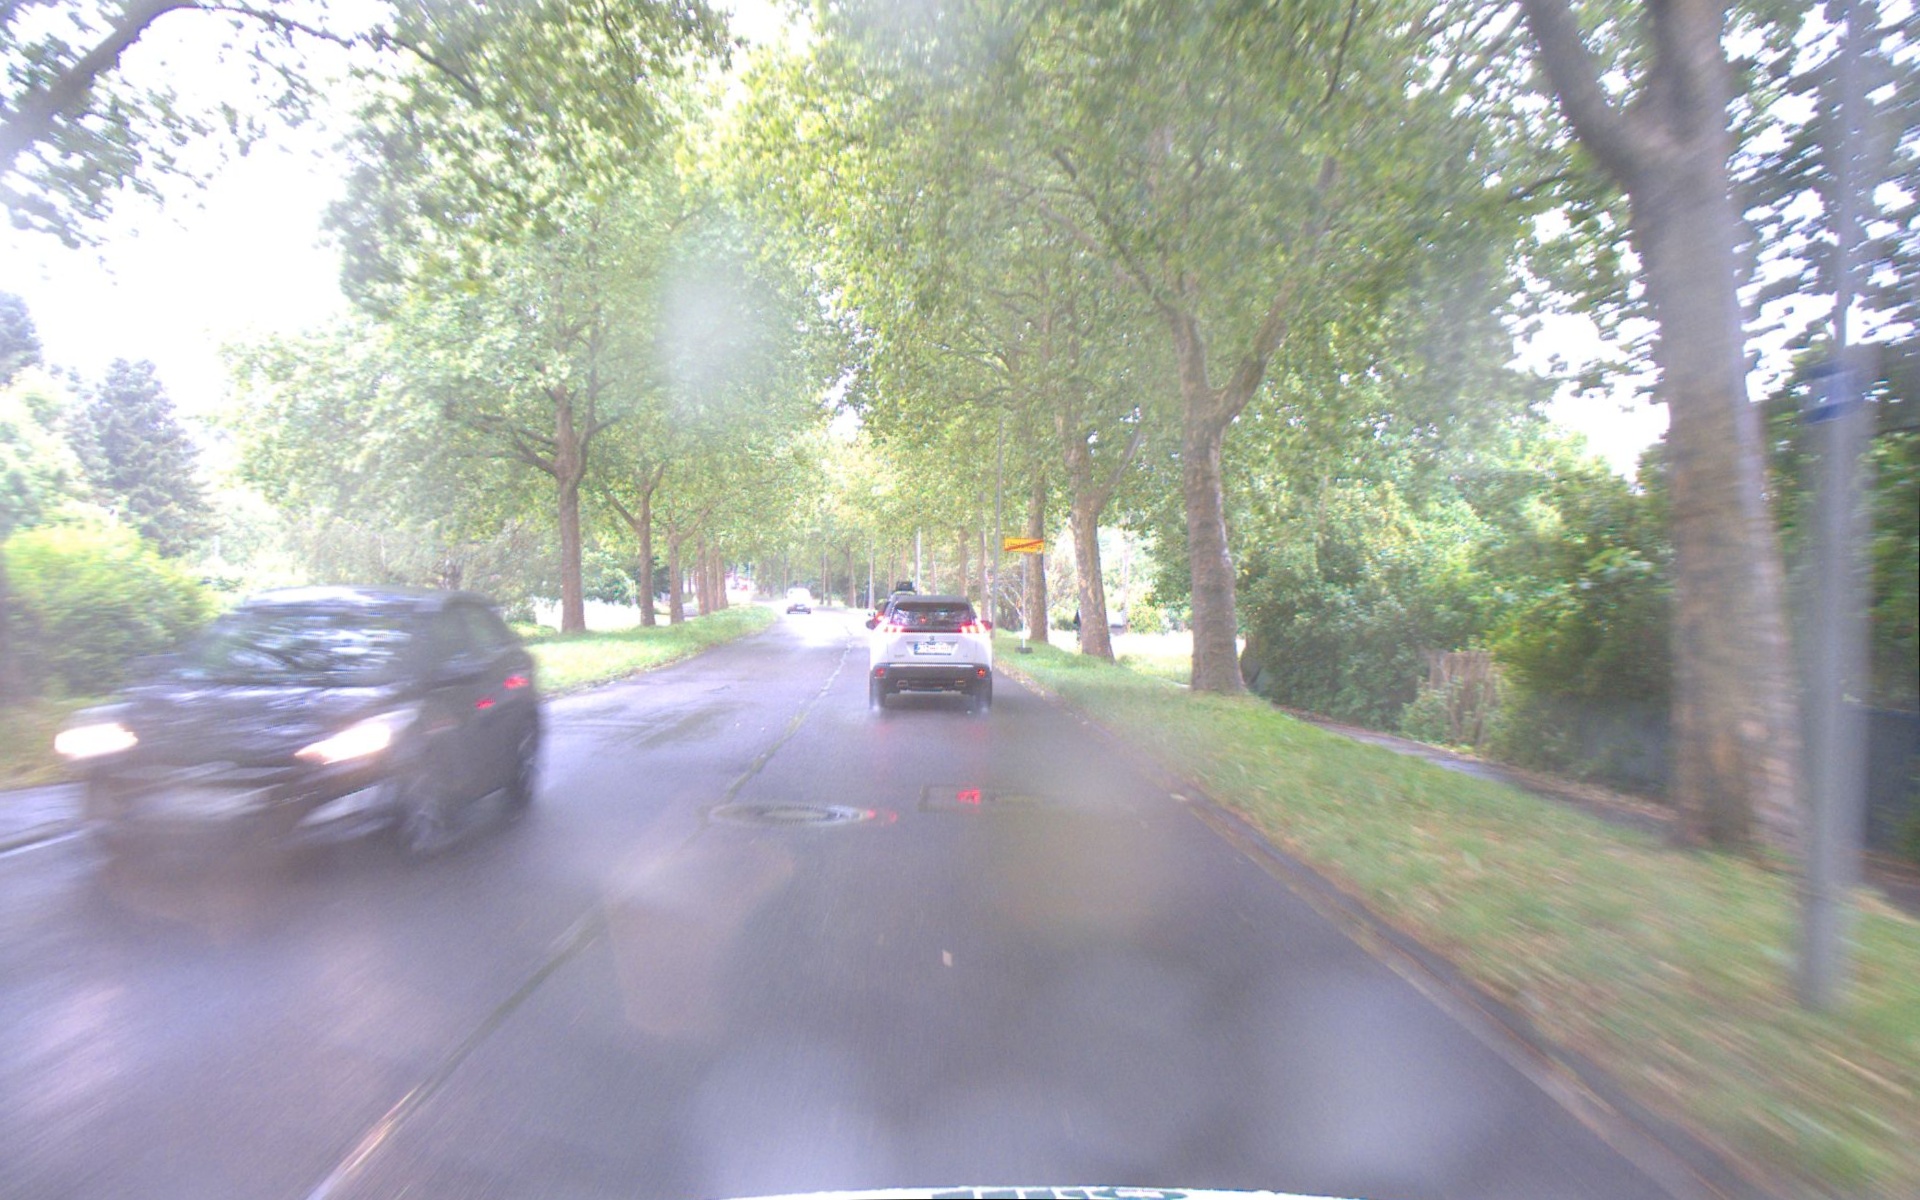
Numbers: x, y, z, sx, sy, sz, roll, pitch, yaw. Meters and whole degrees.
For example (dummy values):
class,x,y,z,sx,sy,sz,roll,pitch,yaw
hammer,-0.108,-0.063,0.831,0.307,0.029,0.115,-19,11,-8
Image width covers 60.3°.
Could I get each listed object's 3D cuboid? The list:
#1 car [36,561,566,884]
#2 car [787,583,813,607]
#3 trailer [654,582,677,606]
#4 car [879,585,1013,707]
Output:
class,x,y,z,sx,sy,sz,roll,pitch,yaw
car,-3.694,0.604,10.101,1.809,1.528,3.997,2,0,-4
car,-12.471,-0.355,129.218,1.826,1.780,5.011,2,0,-4
trailer,-33.128,-0.678,186.352,2.439,2.612,5.320,2,0,-10
car,-0.207,0.611,24.364,1.757,1.606,3.844,2,0,-1
